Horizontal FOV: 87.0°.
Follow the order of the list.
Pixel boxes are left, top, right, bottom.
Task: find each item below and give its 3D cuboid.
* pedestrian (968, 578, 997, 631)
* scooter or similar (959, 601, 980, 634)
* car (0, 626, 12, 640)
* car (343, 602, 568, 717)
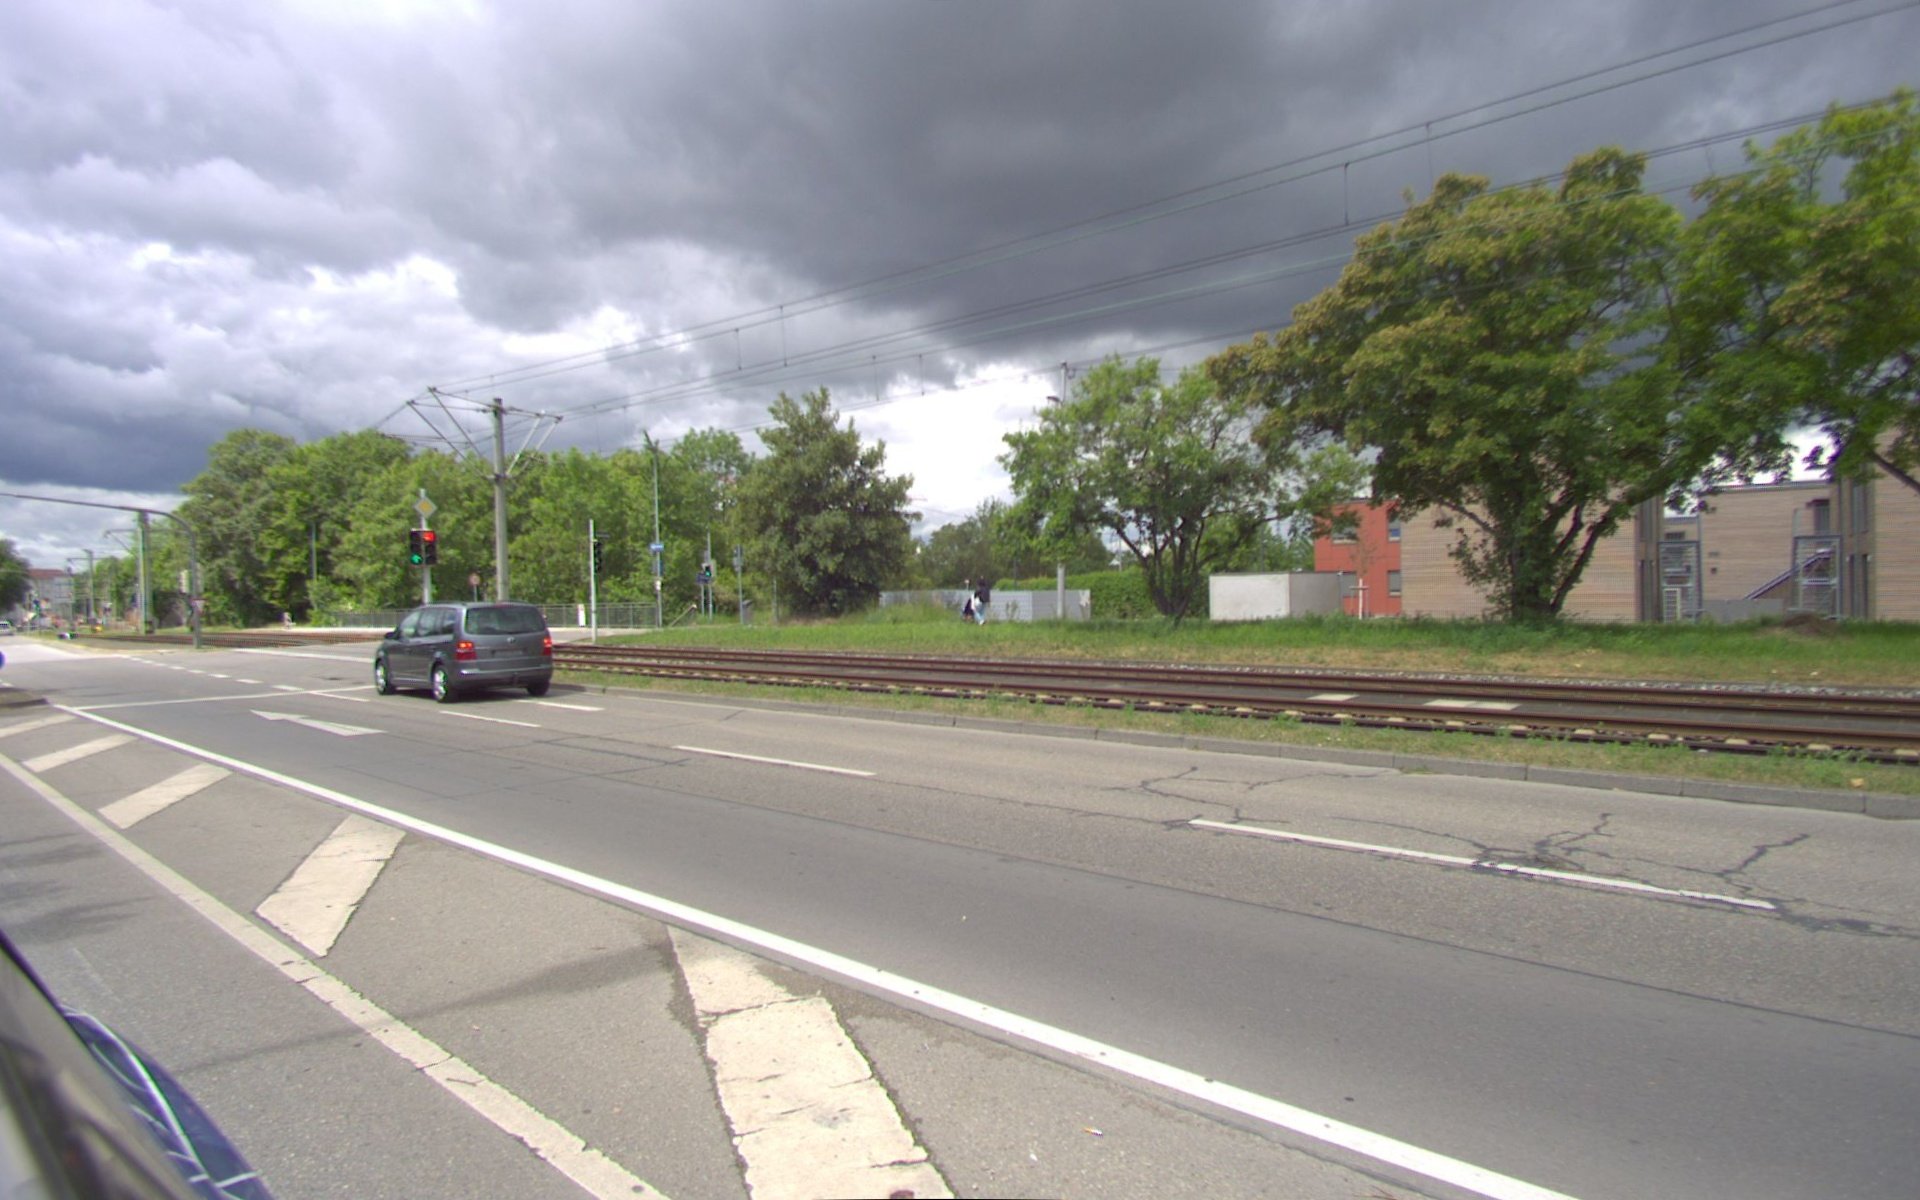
[{"bbox_3d":[0.754,0.136,33.902,0.800,1.736,0.485,0,1,43],"label":"pedestrian"},{"bbox_3d":[0.314,0.585,34.613,0.375,1.084,0.720,-2,1,-30],"label":"scooter or similar"},{"bbox_3d":[-101.336,3.476,106.676,4.855,1.358,1.765,0,2,45],"label":"car"},{"bbox_3d":[-8.853,0.906,17.578,4.521,1.672,1.972,0,1,42],"label":"car"}]
